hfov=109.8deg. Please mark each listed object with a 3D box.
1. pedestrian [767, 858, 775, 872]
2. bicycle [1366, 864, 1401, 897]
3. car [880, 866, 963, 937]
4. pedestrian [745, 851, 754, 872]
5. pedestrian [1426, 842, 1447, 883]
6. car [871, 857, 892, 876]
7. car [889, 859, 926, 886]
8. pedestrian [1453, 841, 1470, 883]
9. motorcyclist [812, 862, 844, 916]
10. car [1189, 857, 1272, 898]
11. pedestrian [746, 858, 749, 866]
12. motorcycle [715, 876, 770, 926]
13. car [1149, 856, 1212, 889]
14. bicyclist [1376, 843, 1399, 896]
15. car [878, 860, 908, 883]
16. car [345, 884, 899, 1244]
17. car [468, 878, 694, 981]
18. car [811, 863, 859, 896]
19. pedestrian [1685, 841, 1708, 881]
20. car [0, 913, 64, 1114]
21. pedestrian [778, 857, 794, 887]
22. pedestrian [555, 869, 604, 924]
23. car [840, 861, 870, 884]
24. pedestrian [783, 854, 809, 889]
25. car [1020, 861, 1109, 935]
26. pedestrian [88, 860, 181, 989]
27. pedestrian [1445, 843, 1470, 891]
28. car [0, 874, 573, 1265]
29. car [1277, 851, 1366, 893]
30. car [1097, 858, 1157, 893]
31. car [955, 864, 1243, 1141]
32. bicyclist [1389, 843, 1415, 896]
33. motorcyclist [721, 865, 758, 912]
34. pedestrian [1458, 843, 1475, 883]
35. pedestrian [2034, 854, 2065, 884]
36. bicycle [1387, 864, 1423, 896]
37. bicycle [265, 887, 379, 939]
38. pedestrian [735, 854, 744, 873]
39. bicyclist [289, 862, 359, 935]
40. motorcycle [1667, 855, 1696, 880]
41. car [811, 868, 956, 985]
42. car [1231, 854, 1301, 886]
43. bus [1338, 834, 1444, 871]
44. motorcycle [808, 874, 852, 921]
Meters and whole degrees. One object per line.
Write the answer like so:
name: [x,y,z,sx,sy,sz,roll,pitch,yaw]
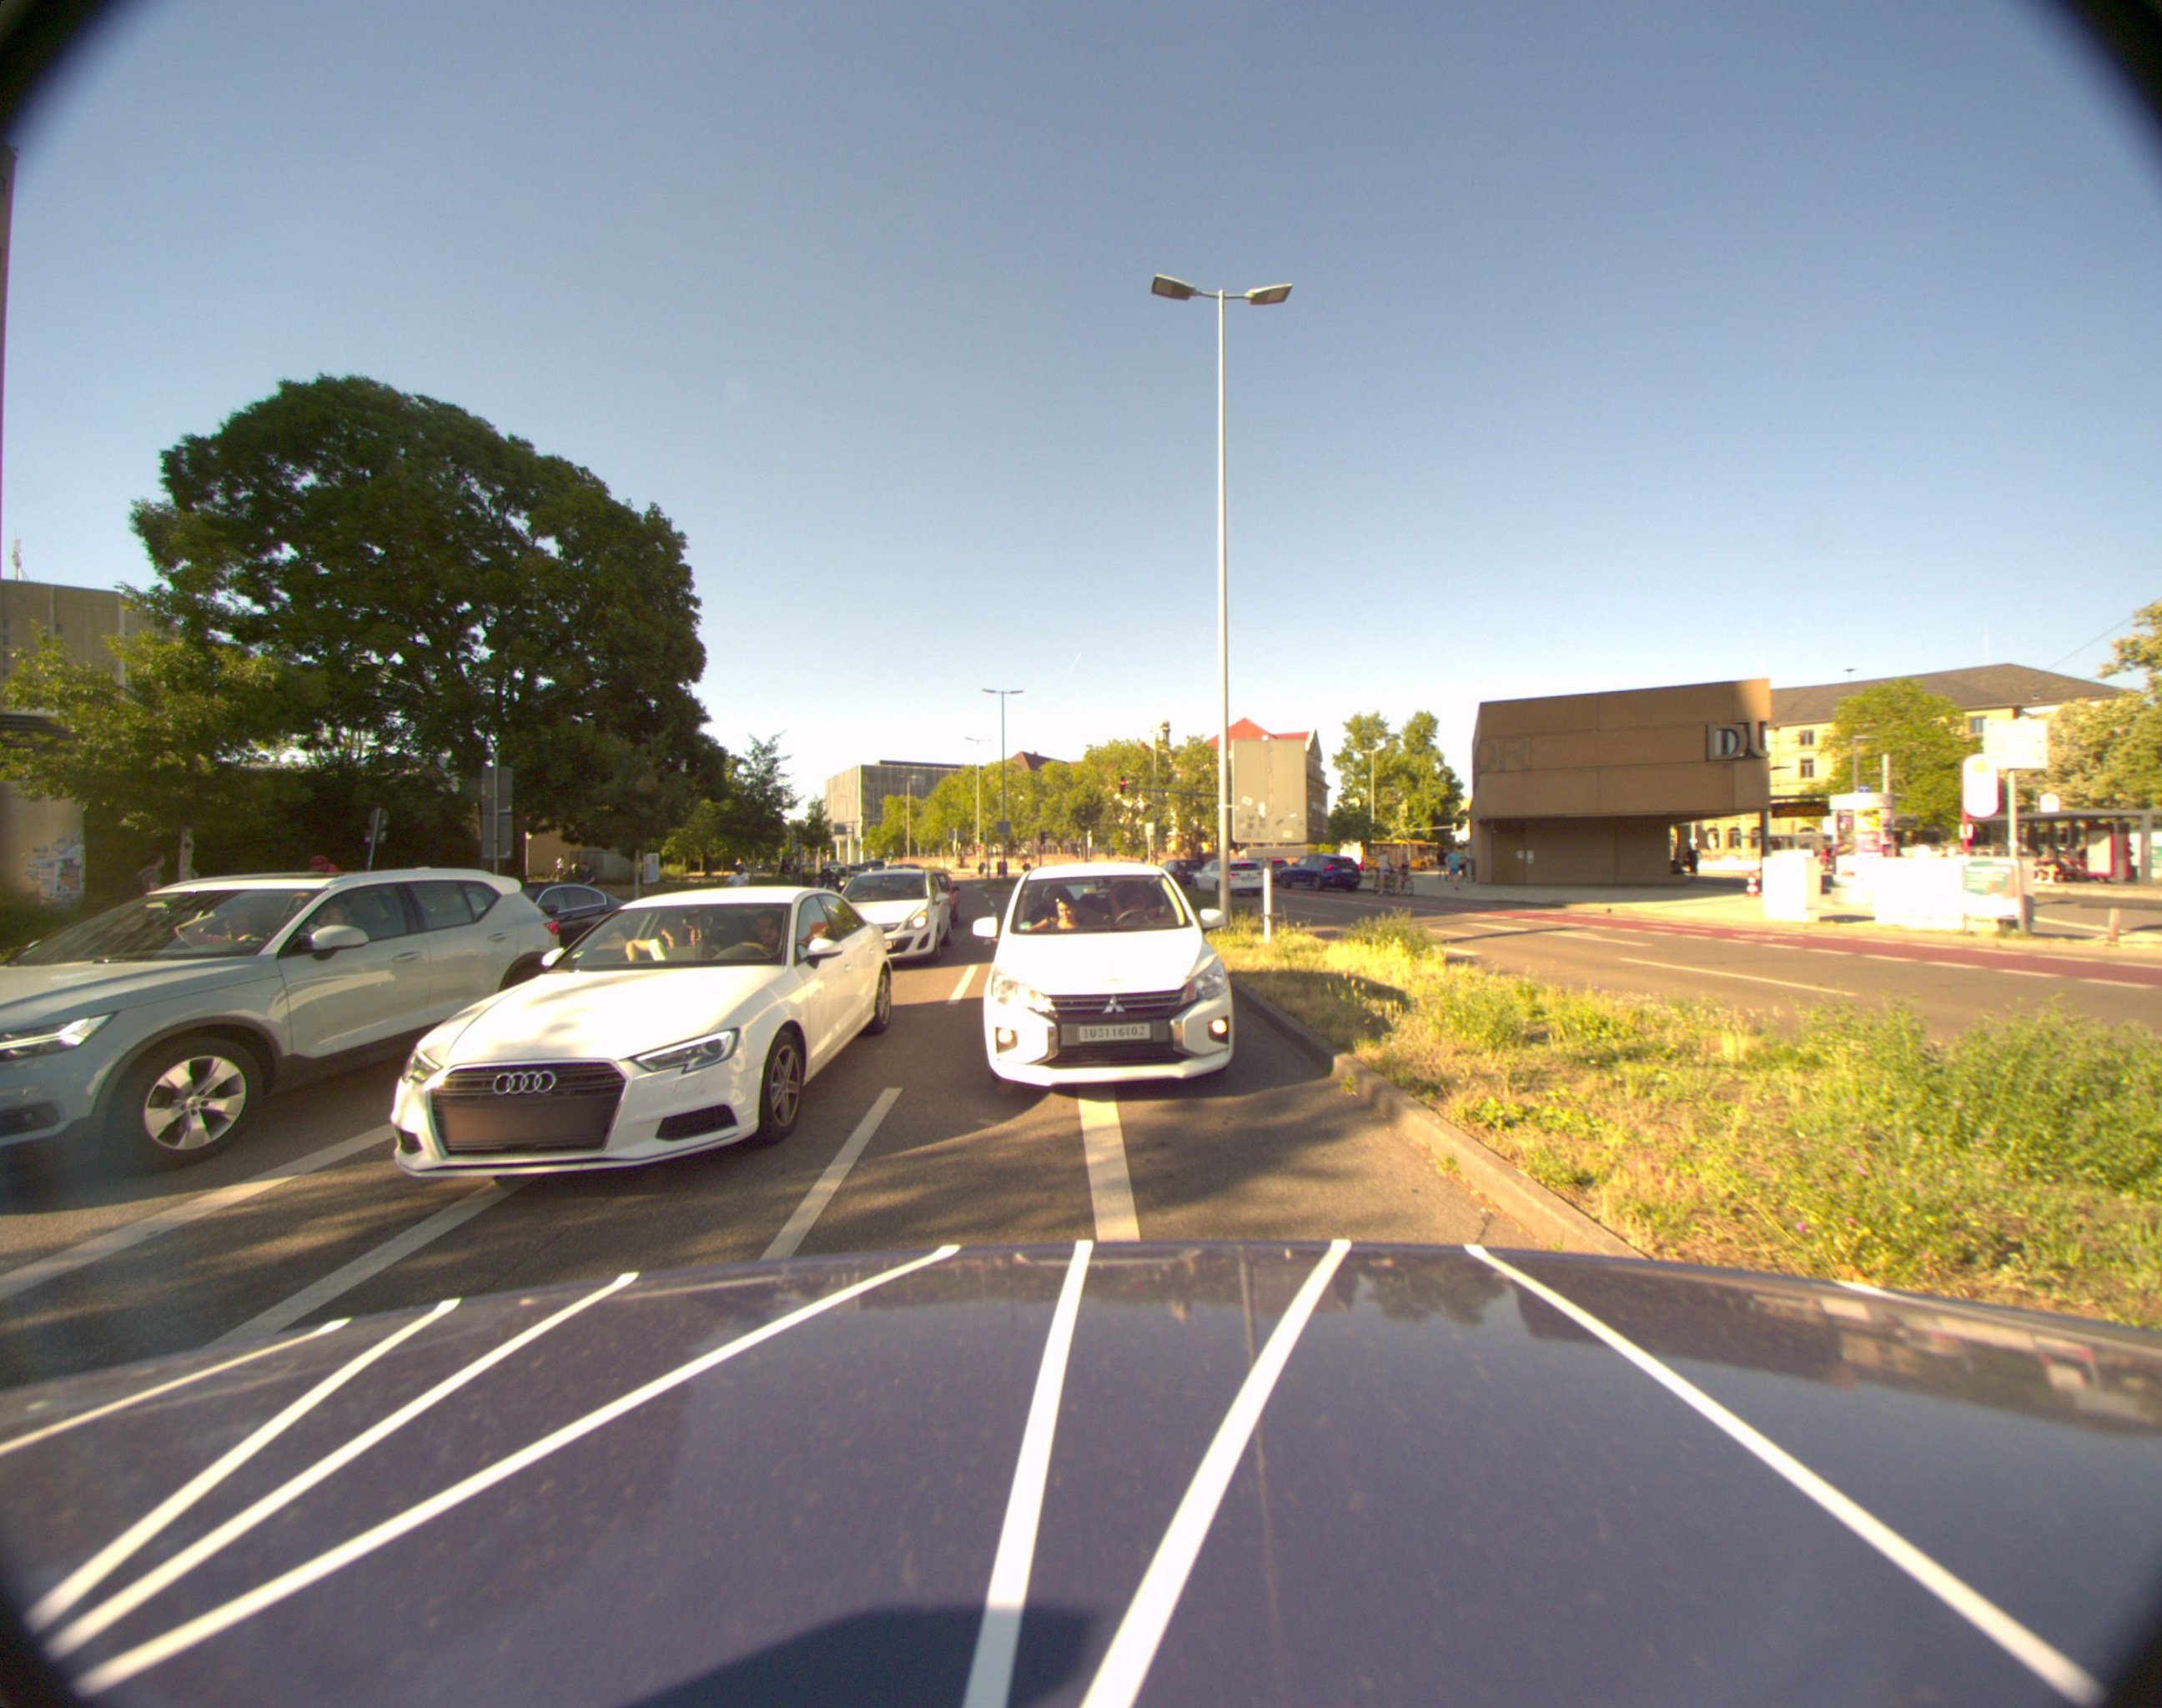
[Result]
pedestrian: [-45.868,1.636,112.522,0.840,2.002,1.065,-3,1,-30]
bicycle: [11.712,1.009,29.416,0.464,1.185,1.395,-3,1,-17]
car: [-3.897,1.095,19.110,1.628,1.451,4.039,-2,1,-7]
pedestrian: [-26.101,0.587,59.763,0.548,1.597,0.603,-3,1,-19]
pedestrian: [17.565,0.416,37.557,0.777,2.002,0.773,-2,1,13]
car: [-19.252,1.164,73.533,1.880,1.805,3.995,-1,0,-14]
car: [-10.630,1.086,46.316,1.748,1.536,3.993,-1,0,-20]
pedestrian: [18.526,0.372,37.029,0.655,2.002,0.469,-2,1,20]
motorcyclist: [-7.807,1.070,23.434,0.711,1.581,0.690,-2,1,-4]
car: [6.058,0.907,31.325,1.850,1.483,4.388,-2,1,-10]
pedestrian: [-60.770,1.522,138.517,0.409,1.476,0.486,-1,1,1]
motorcycle: [-9.994,1.357,22.543,0.718,1.297,2.234,-2,1,-4]
car: [4.811,0.859,37.433,1.757,1.451,4.184,-2,1,-12]
bicyclist: [11.772,0.600,29.205,0.611,2.002,0.565,-1,1,-15]
car: [-14.698,1.318,59.388,1.748,1.696,3.993,-1,0,-21]
car: [-2.553,1.035,5.404,1.628,1.396,3.832,-2,1,-2]
car: [-9.189,1.290,14.458,1.756,1.451,4.186,-2,1,-5]
car: [-12.380,1.261,38.448,1.746,1.516,3.996,-1,0,-9]
pedestrian: [31.978,0.360,39.456,0.780,2.002,0.771,-3,2,-42]
car: [-8.757,1.240,3.896,1.628,1.451,4.040,-2,1,-2]
pedestrian: [-15.845,0.964,40.779,0.596,1.585,0.594,-2,1,-8]
pedestrian: [-16.487,1.386,24.994,1.010,1.711,0.884,-2,1,-10]
car: [-15.910,1.253,53.473,1.748,1.536,3.993,-1,0,-20]
pedestrian: [-16.939,1.016,45.162,1.143,2.002,1.285,-2,1,-10]
car: [-0.517,0.952,18.273,1.756,1.451,4.186,-2,1,-6]
pedestrian: [-14.454,1.053,11.619,0.464,1.875,0.696,-2,1,18]
pedestrian: [15.278,0.524,30.841,0.797,1.886,0.612,0,1,40]
car: [-5.749,1.051,5.271,1.628,1.611,4.223,-2,1,-2]
car: [10.392,0.721,33.223,1.757,1.680,4.183,-1,0,-14]
car: [2.092,0.985,36.074,1.757,1.451,4.184,-2,1,-12]
car: [0.057,0.892,6.447,1.628,1.451,4.040,-2,1,-2]
bicyclist: [12.459,0.589,29.474,0.611,2.002,0.708,-1,1,-15]
motorcyclist: [-9.993,0.992,22.227,0.718,1.297,0.735,-2,1,-4]
pedestrian: [19.165,0.447,37.788,0.655,2.002,0.469,-2,1,20]
pedestrian: [39.026,0.606,30.629,0.539,1.180,0.659,-2,1,29]
bicycle: [12.506,0.979,29.394,0.464,1.185,1.395,-3,1,-17]
bicycle: [-16.727,1.268,16.828,0.660,0.958,2.033,0,1,-7]
pedestrian: [-26.779,0.742,59.603,0.548,1.521,0.603,-3,1,-19]
bicyclist: [-16.703,0.961,16.777,0.617,1.551,0.871,-2,1,-6]
motorcycle: [26.250,0.586,33.225,0.948,1.061,0.331,-1,1,39]
car: [-3.074,1.047,12.593,1.628,1.451,4.039,-2,1,-5]
car: [9.428,0.786,39.002,1.850,1.483,4.388,1,0,-10]
bus: [30.784,-0.226,75.039,12.565,3.193,3.079,-3,1,-34]
motorcycle: [-7.809,1.336,23.728,0.718,1.297,2.234,-2,1,-4]
